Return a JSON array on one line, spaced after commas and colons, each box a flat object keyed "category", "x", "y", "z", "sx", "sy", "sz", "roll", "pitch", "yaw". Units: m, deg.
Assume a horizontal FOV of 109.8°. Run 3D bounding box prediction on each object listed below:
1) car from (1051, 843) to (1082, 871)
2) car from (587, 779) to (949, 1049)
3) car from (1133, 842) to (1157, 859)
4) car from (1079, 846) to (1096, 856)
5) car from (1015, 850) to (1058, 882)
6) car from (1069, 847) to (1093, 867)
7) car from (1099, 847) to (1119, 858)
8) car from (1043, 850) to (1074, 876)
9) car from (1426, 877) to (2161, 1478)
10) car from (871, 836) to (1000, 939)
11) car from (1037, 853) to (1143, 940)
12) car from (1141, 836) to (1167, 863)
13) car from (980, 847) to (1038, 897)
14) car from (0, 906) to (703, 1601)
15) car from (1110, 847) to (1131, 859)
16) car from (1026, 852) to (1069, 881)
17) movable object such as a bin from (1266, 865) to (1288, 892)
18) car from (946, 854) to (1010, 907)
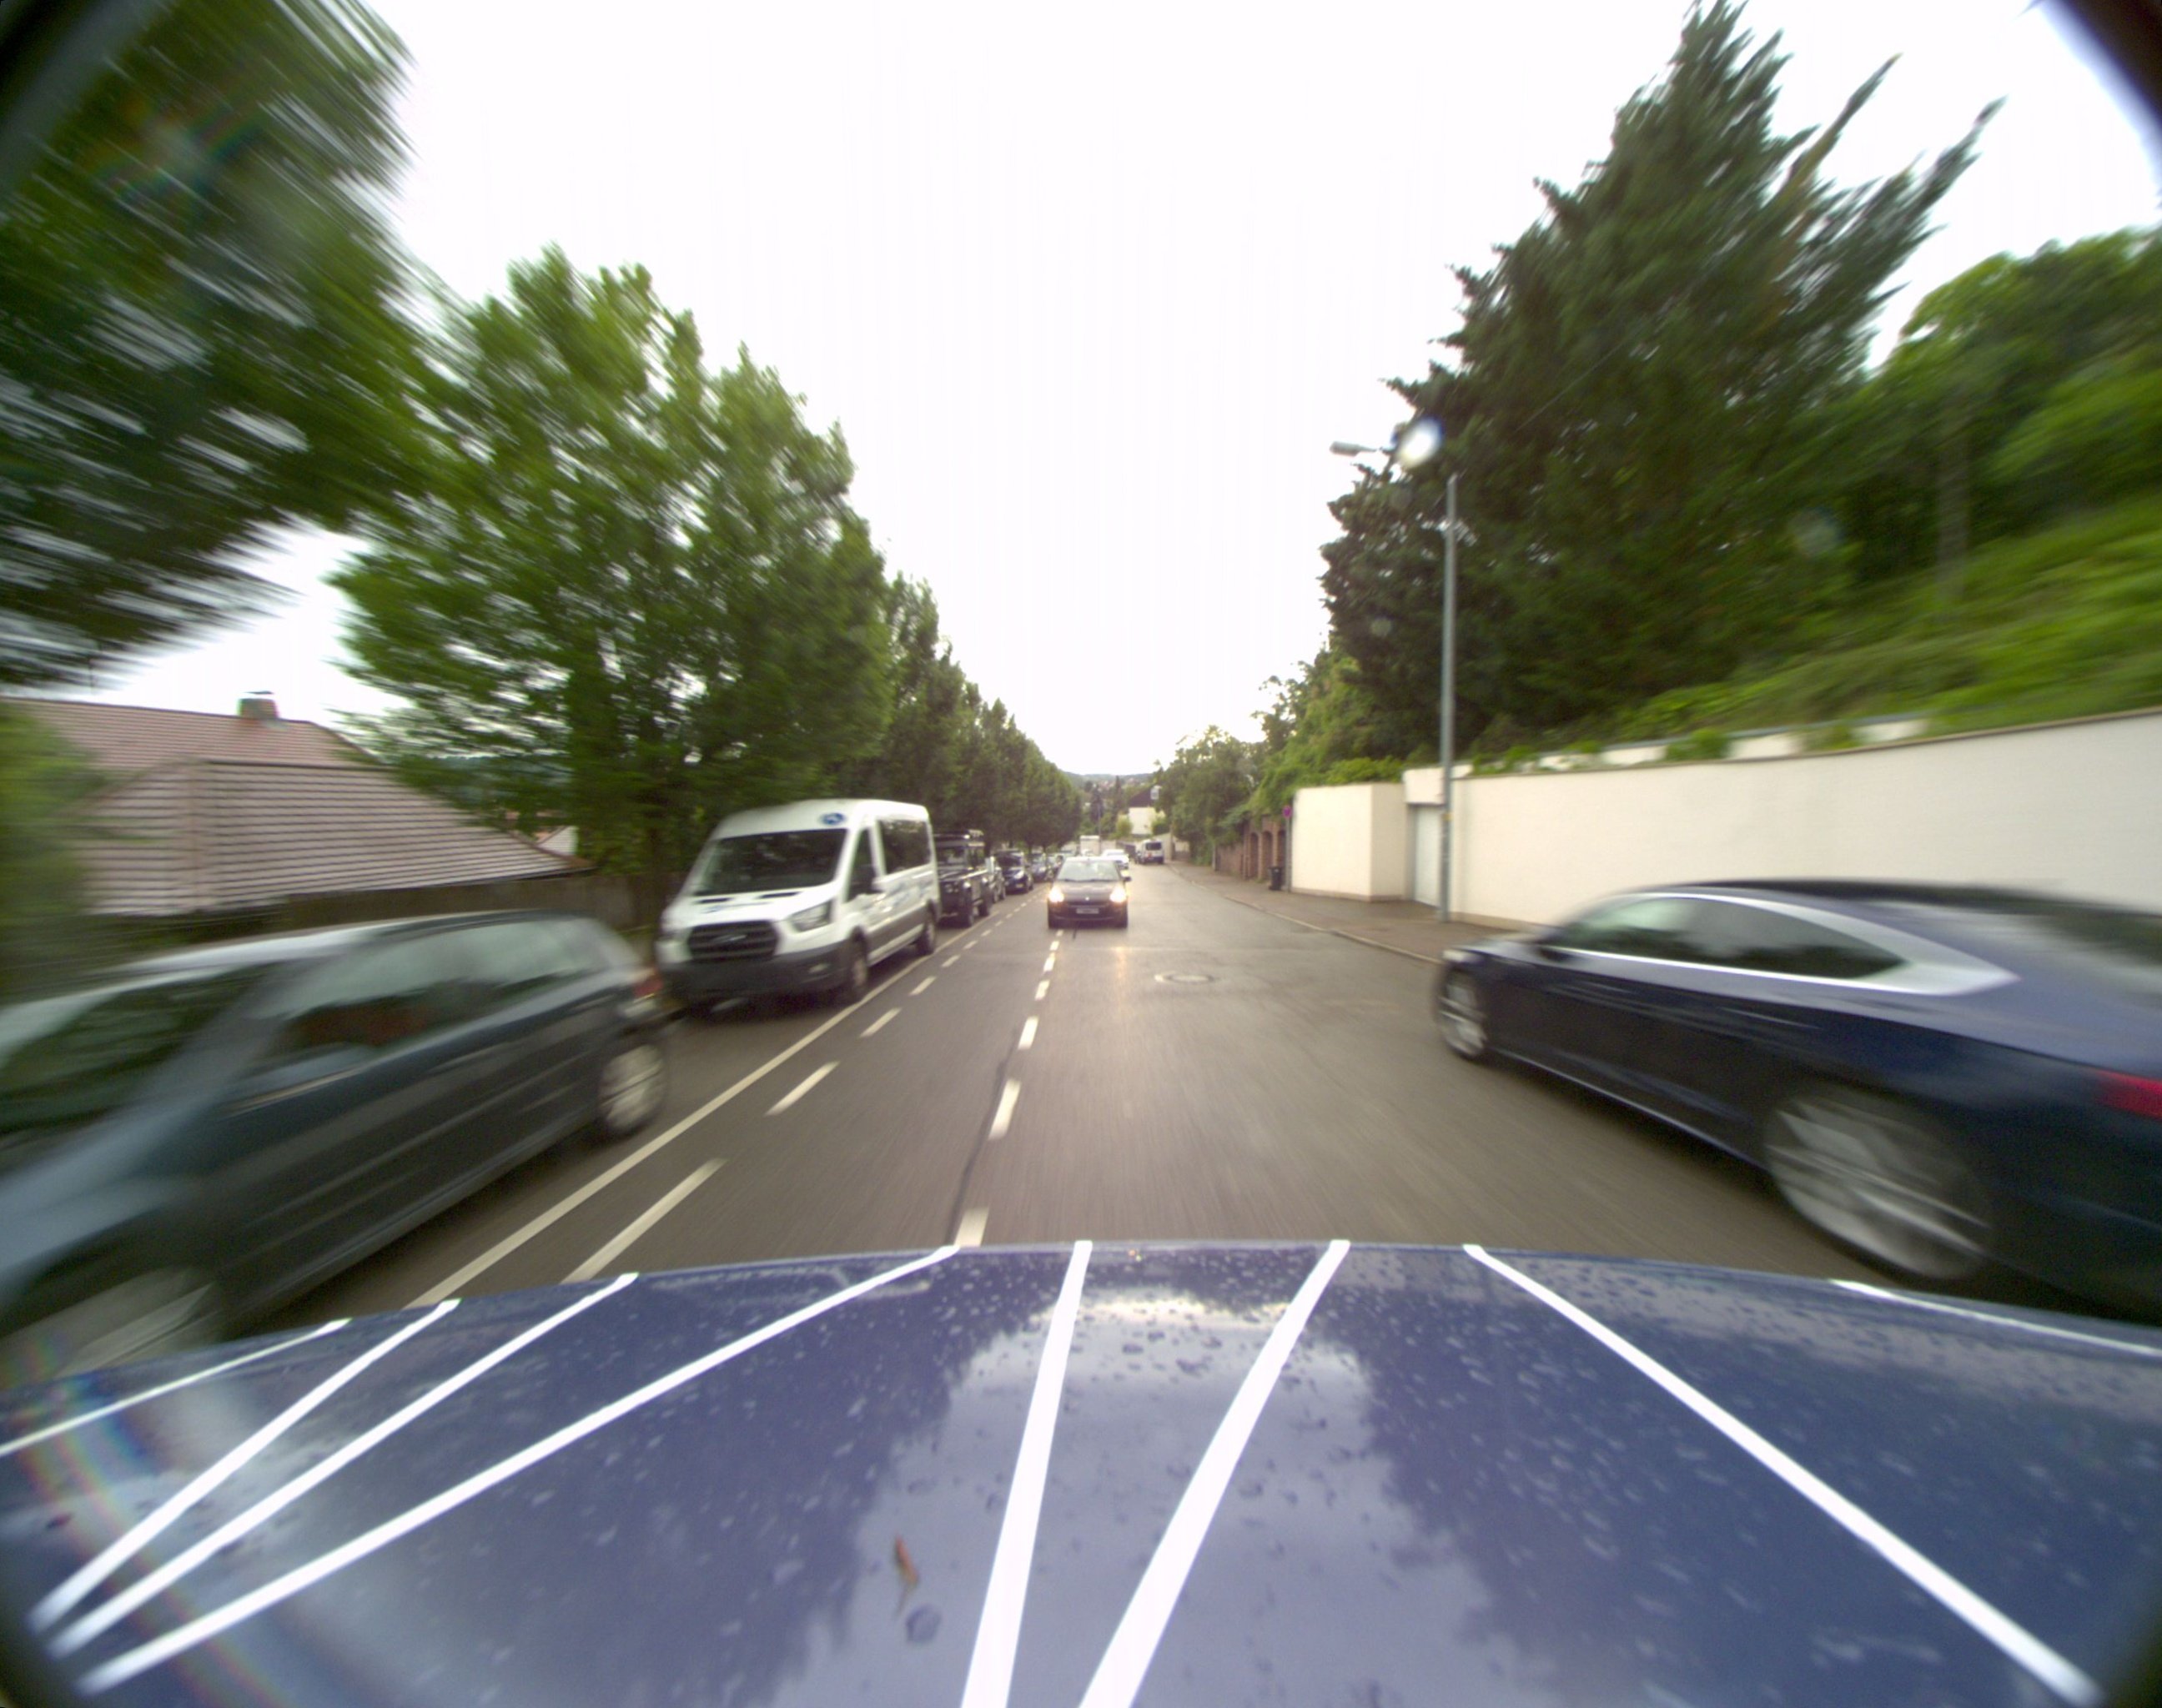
[{"category": "car", "x": -1.051, "y": 0.187, "z": 56.740, "sx": 1.782, "sy": 1.841, "sz": 4.425, "roll": -4, "pitch": 0, "yaw": 4}, {"category": "car", "x": -3.581, "y": 0.560, "z": 10.448, "sx": 2.179, "sy": 2.478, "sz": 6.033, "roll": -5, "pitch": 1, "yaw": 1}, {"category": "car", "x": 7.134, "y": -0.429, "z": 84.769, "sx": 1.901, "sy": 1.681, "sz": 4.543, "roll": -3, "pitch": 1, "yaw": -4}, {"category": "car", "x": 1.063, "y": -0.503, "z": 121.125, "sx": 1.633, "sy": 1.507, "sz": 3.827, "roll": -3, "pitch": 1, "yaw": -16}, {"category": "car", "x": -2.404, "y": 0.627, "z": 41.742, "sx": 1.696, "sy": 1.561, "sz": 3.923, "roll": -3, "pitch": 1, "yaw": 5}, {"category": "car", "x": 0.000, "y": 0.203, "z": 67.786, "sx": 1.718, "sy": 1.547, "sz": 4.164, "roll": -5, "pitch": 1, "yaw": 4}, {"category": "car", "x": 4.085, "y": -0.232, "z": 109.641, "sx": 1.839, "sy": 1.432, "sz": 4.035, "roll": -3, "pitch": 1, "yaw": -13}, {"category": "car", "x": -1.486, "y": 0.558, "z": 52.281, "sx": 1.787, "sy": 1.600, "sz": 4.224, "roll": -3, "pitch": 1, "yaw": 2}, {"category": "car", "x": 3.602, "y": 0.885, "z": 3.754, "sx": 1.753, "sy": 1.350, "sz": 4.424, "roll": -1, "pitch": 0, "yaw": 0}, {"category": "car", "x": -3.348, "y": 0.670, "z": 18.578, "sx": 1.998, "sy": 2.040, "sz": 5.120, "roll": -4, "pitch": 1, "yaw": 0}, {"category": "car", "x": 0.331, "y": 0.789, "z": 15.987, "sx": 1.892, "sy": 1.521, "sz": 4.058, "roll": -2, "pitch": 0, "yaw": 5}, {"category": "car", "x": 7.343, "y": -0.448, "z": 77.034, "sx": 2.099, "sy": 2.535, "sz": 6.097, "roll": -3, "pitch": 1, "yaw": 1}, {"category": "car", "x": -2.844, "y": 0.659, "z": 30.986, "sx": 1.784, "sy": 1.773, "sz": 4.678, "roll": -3, "pitch": 1, "yaw": 0}, {"category": "car", "x": -3.581, "y": 1.195, "z": 3.238, "sx": 1.676, "sy": 1.450, "sz": 4.223, "roll": -6, "pitch": 1, "yaw": 0}, {"category": "car", "x": 5.345, "y": -0.159, "z": 102.618, "sx": 1.718, "sy": 1.451, "sz": 4.678, "roll": -3, "pitch": 0, "yaw": -10}, {"category": "car", "x": -2.011, "y": 0.737, "z": 47.327, "sx": 1.998, "sy": 1.528, "sz": 4.851, "roll": -4, "pitch": 1, "yaw": 5}, {"category": "movable object such as a bin", "x": 7.299, "y": 0.906, "z": 28.344, "sx": 0.660, "sy": 0.914, "sz": 0.677, "roll": -3, "pitch": 1, "yaw": 4}, {"category": "car", "x": -3.428, "y": 0.851, "z": 25.701, "sx": 1.600, "sy": 1.549, "sz": 2.955, "roll": -3, "pitch": 1, "yaw": 2}]
